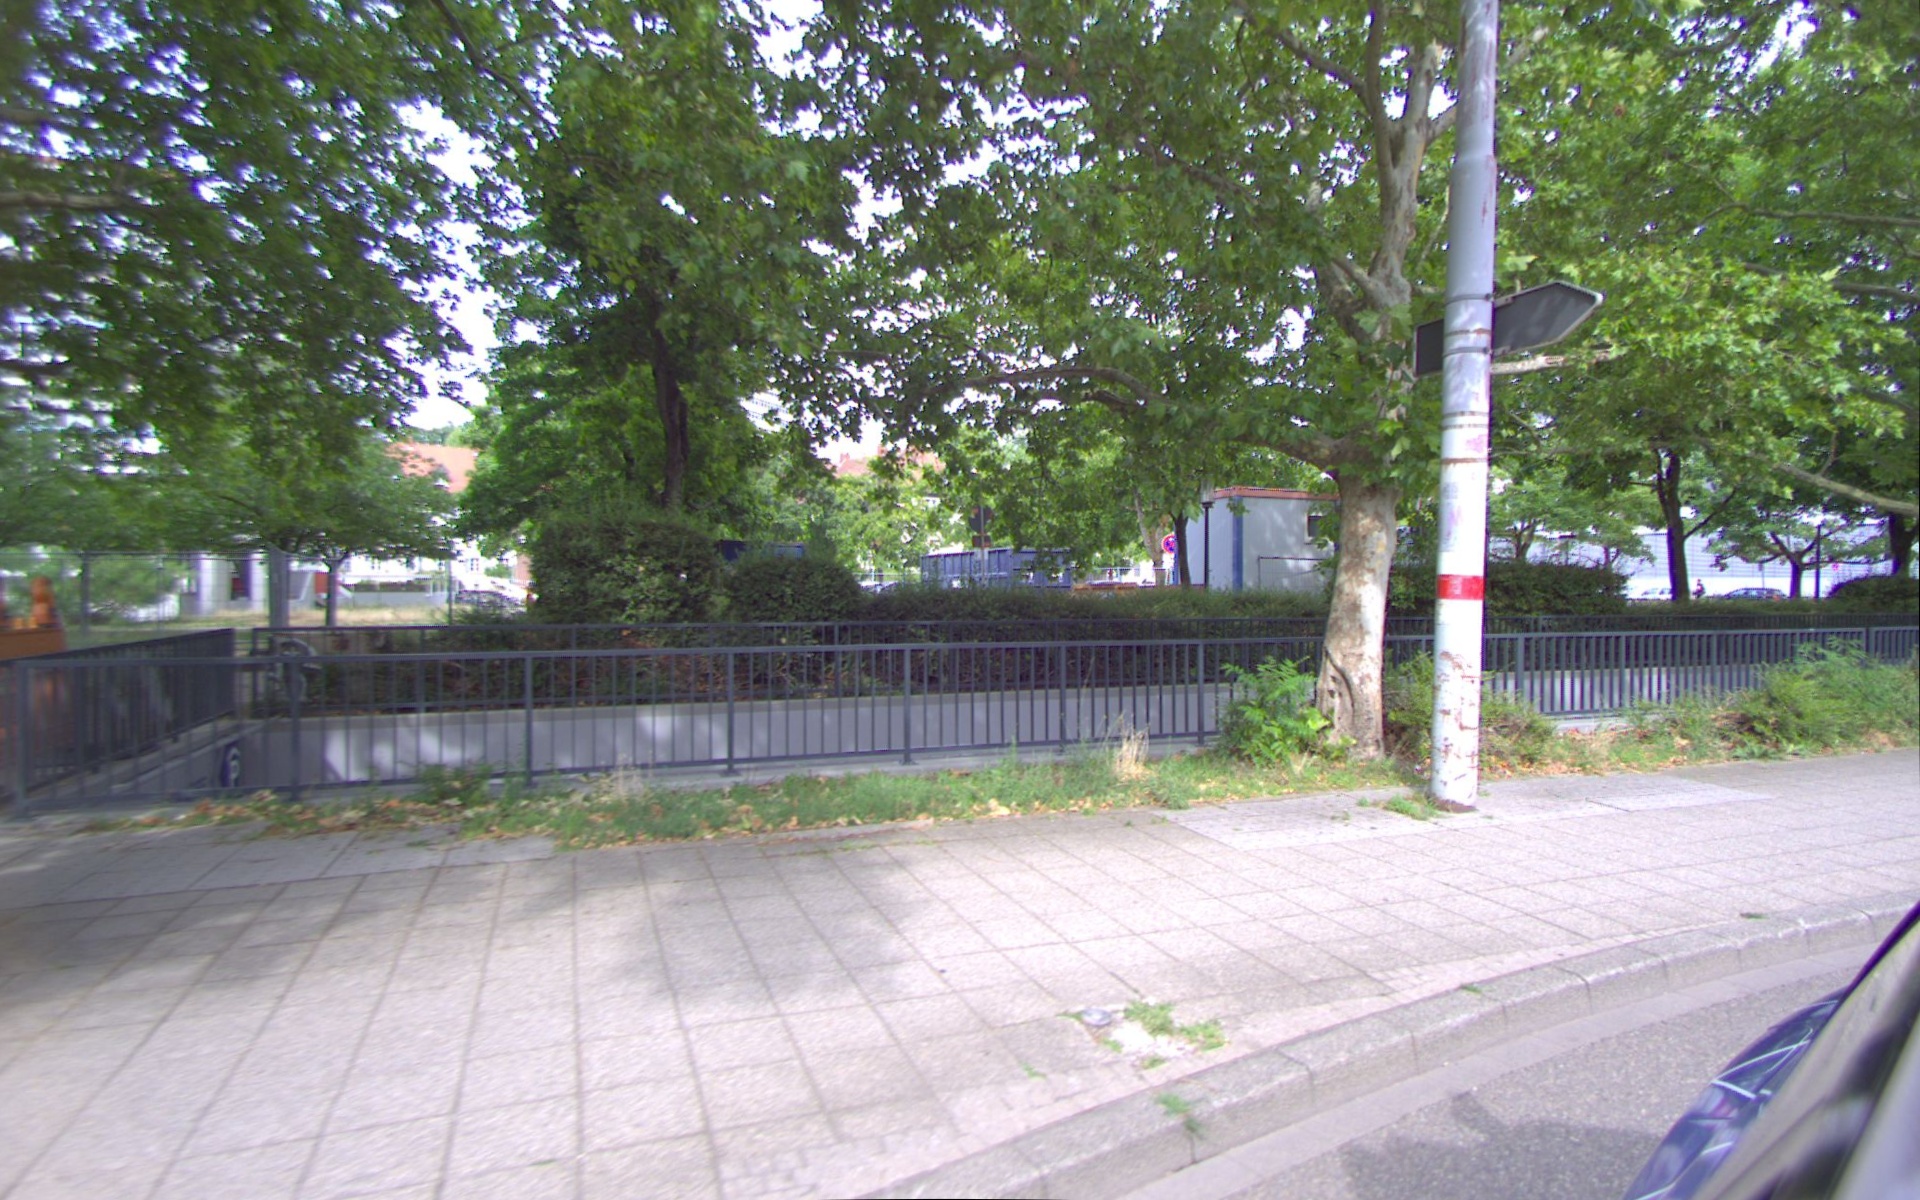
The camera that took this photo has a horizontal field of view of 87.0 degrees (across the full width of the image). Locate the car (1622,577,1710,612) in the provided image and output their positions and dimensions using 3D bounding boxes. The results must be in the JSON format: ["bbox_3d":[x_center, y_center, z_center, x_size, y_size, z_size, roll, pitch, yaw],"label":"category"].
[{"bbox_3d":[43.687,-0.306,62.674,1.960,2.039,4.003,0,-1,-30],"label":"car"}]

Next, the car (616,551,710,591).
[{"bbox_3d":[-16.025,-1.537,54.637,4.674,2.039,2.003,0,-1,-24],"label":"car"}]

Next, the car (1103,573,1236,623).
[{"bbox_3d":[7.995,-0.072,38.611,4.674,1.817,2.003,0,-1,-24],"label":"car"}]

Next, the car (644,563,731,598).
[{"bbox_3d":[-12.936,-0.902,48.023,3.711,1.601,2.003,0,-1,-24],"label":"car"}]
